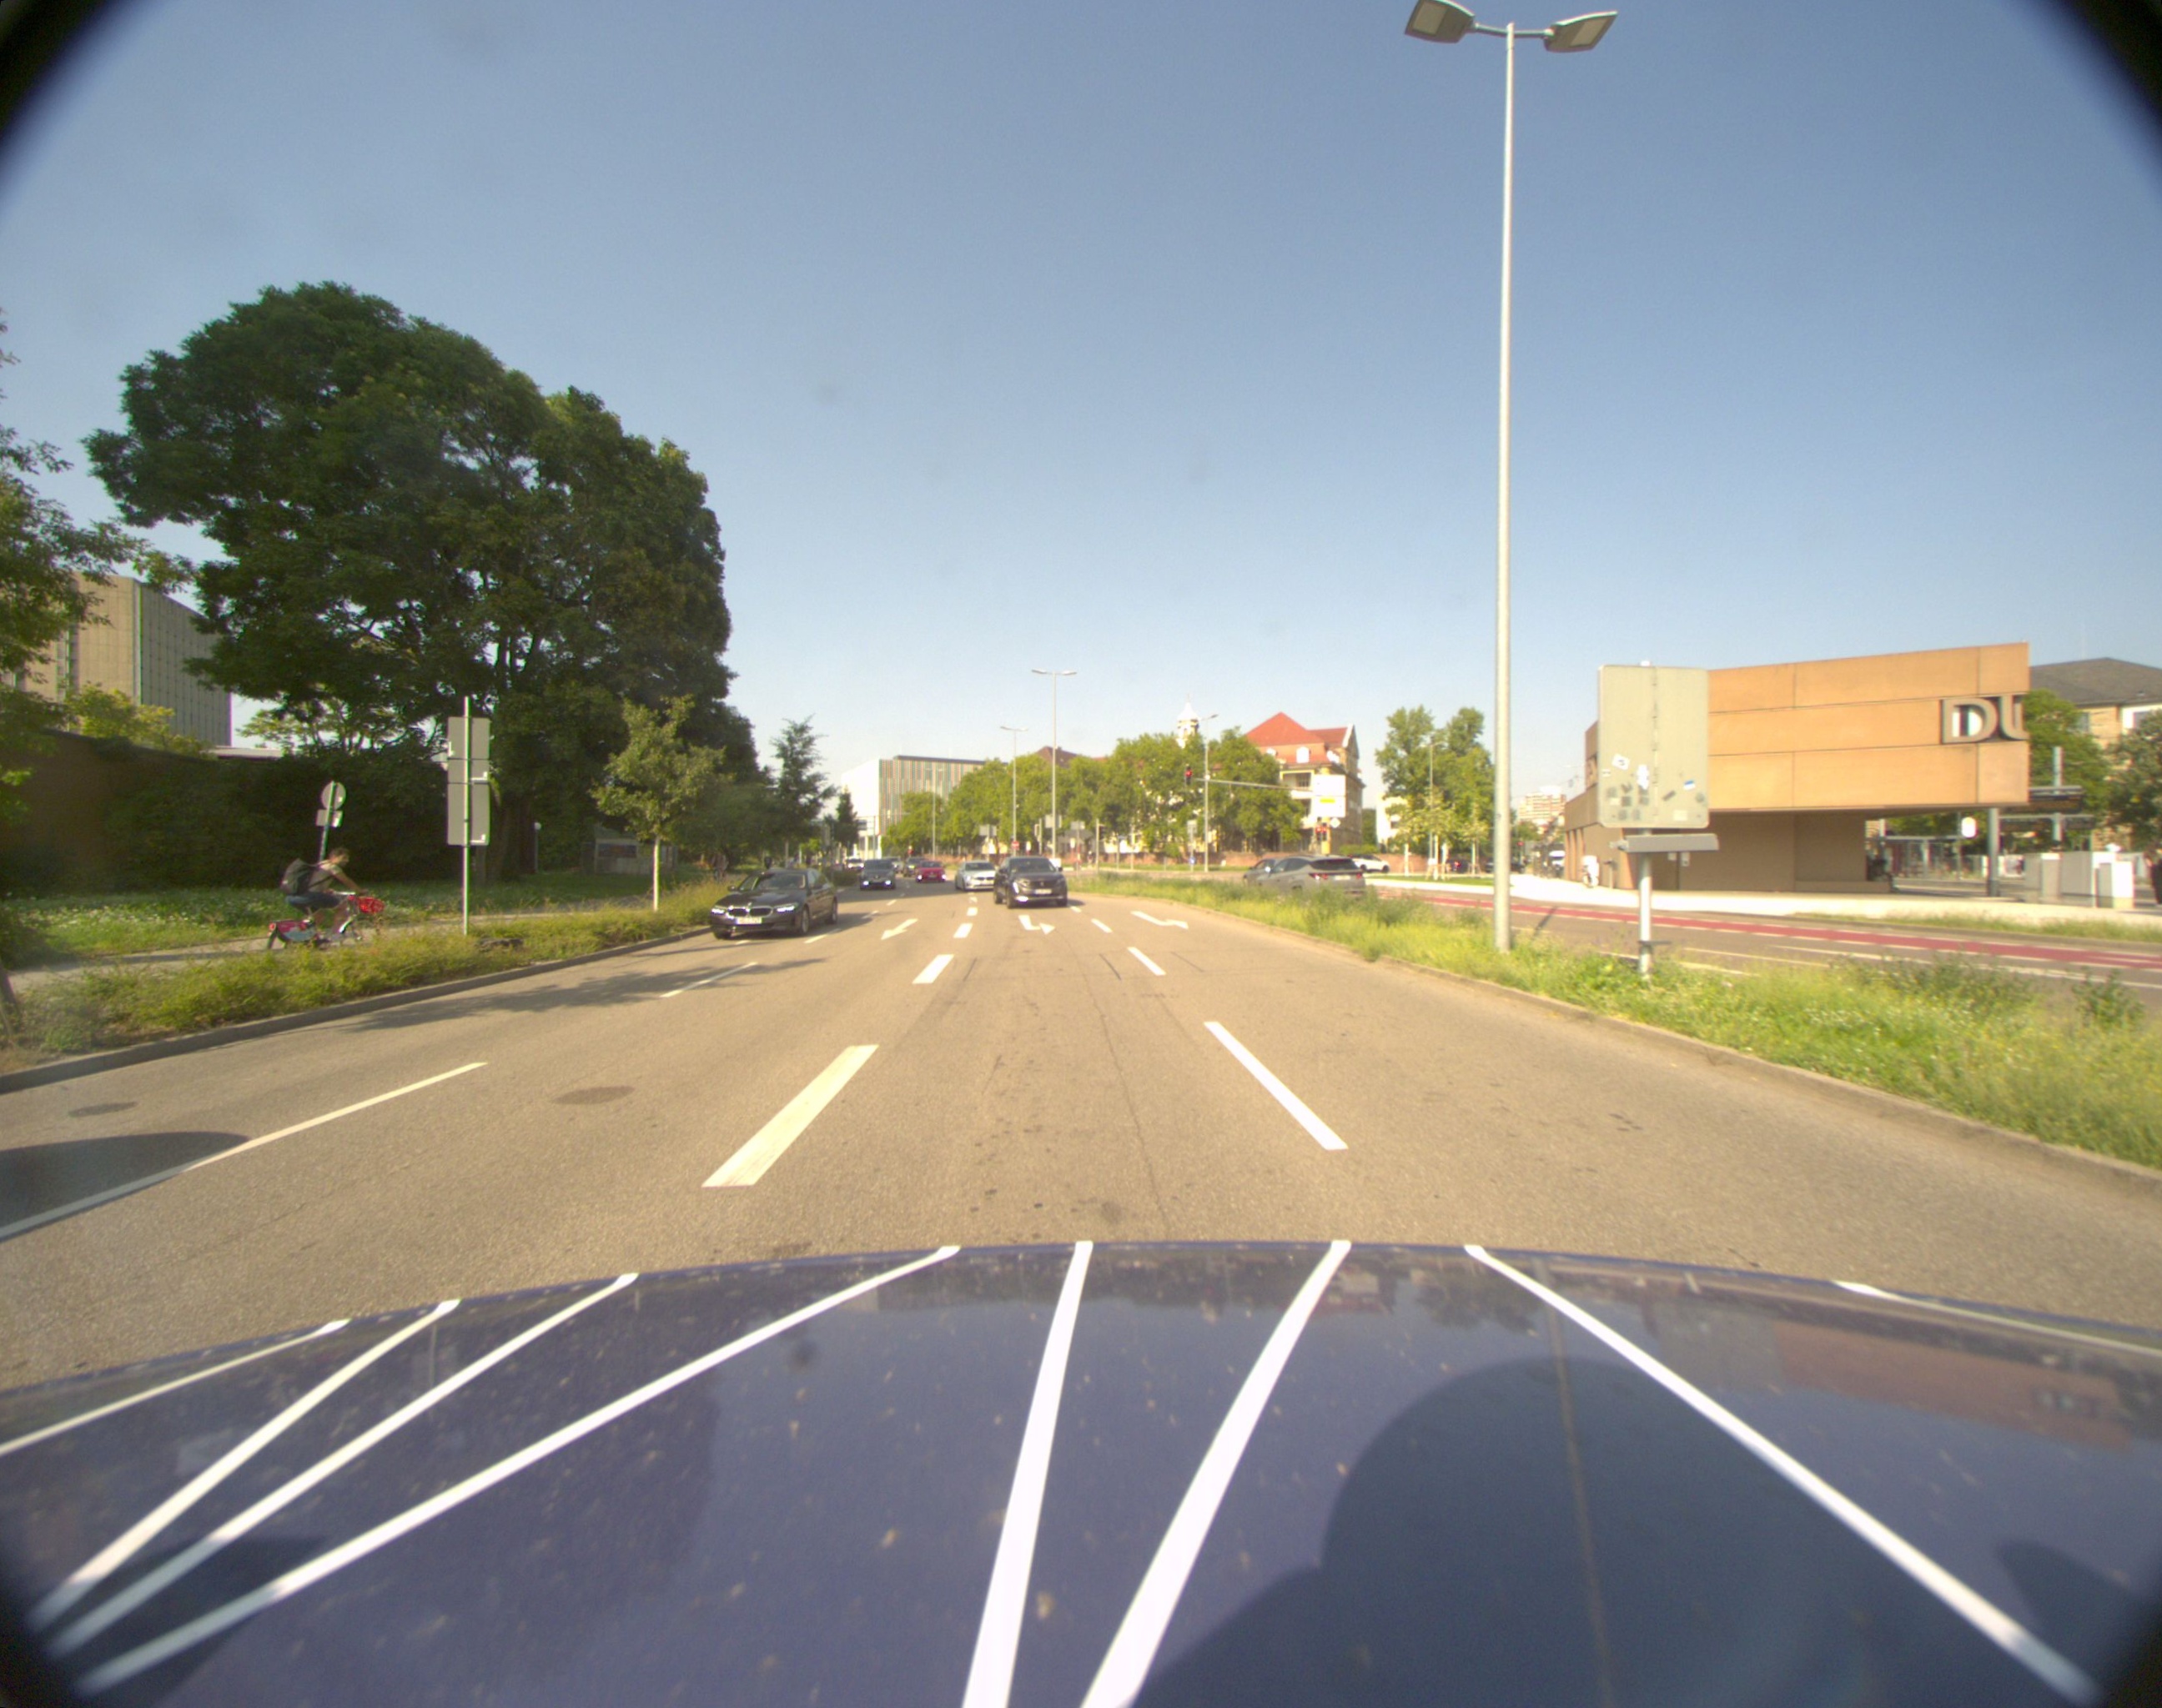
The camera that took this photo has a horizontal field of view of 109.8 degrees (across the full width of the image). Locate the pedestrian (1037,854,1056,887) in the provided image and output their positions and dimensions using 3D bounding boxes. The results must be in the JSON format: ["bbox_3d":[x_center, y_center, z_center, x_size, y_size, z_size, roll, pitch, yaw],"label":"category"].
[{"bbox_3d":[-1.708,0.827,38.009,0.667,1.644,0.780,0,0,24],"label":"pedestrian"}]

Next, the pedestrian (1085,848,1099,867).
[{"bbox_3d":[1.184,0.385,83.585,1.080,2.002,1.316,-1,1,-21],"label":"pedestrian"}]

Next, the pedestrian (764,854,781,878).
[{"bbox_3d":[-23.016,0.912,56.697,0.961,1.772,1.001,2,0,-14],"label":"pedestrian"}]

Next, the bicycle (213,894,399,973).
[{"bbox_3d":[-11.121,1.103,11.019,0.721,0.954,1.921,0,0,0],"label":"bicycle"}]

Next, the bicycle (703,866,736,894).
[{"bbox_3d":[-15.523,1.111,32.690,0.774,1.111,2.301,-1,0,-12],"label":"bicycle"}]

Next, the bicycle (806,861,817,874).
[{"bbox_3d":[-23.212,1.135,65.354,0.774,1.111,2.299,-1,0,-22],"label":"bicycle"}]

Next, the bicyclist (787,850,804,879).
[{"bbox_3d":[-15.793,0.570,42.052,0.774,1.583,0.923,0,0,-12],"label":"bicyclist"}]

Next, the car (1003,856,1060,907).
[{"bbox_3d":[-1.539,0.827,24.776,1.687,1.483,4.371,0,0,-2],"label":"car"}]

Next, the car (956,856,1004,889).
[{"bbox_3d":[-4.920,0.833,36.472,1.785,1.474,4.527,0,0,-14],"label":"car"}]

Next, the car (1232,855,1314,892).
[{"bbox_3d":[8.117,0.779,32.530,1.820,1.425,4.220,0,0,-11],"label":"car"}]

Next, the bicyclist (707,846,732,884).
[{"bbox_3d":[-15.538,0.474,32.699,0.774,1.584,0.923,-1,1,-13],"label":"bicyclist"}]

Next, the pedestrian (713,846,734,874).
[{"bbox_3d":[-18.213,0.294,38.710,0.727,1.435,0.857,0,1,-4],"label":"pedestrian"}]

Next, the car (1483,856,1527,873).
[{"bbox_3d":[41.587,0.986,74.477,4.380,1.623,1.995,0,0,-33],"label":"car"}]

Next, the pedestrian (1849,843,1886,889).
[{"bbox_3d":[30.294,0.455,29.275,0.717,1.727,0.858,0,1,26],"label":"pedestrian"}]

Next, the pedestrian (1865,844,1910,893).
[{"bbox_3d":[28.310,0.497,26.683,0.864,1.695,0.733,0,1,23],"label":"pedestrian"}]

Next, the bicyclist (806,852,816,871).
[{"bbox_3d":[-23.256,0.650,65.427,0.774,1.666,0.922,-1,1,-23],"label":"bicyclist"}]

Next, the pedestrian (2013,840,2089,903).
[{"bbox_3d":[27.416,0.485,21.495,0.988,1.760,0.866,0,1,8],"label":"pedestrian"}]

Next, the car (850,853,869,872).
[{"bbox_3d":[-24.231,0.912,83.170,1.690,1.930,4.364,0,0,-21],"label":"car"}]

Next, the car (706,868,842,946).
[{"bbox_3d":[-6.892,1.116,17.604,1.688,1.483,4.670,0,0,-6],"label":"car"}]

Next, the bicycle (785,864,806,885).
[{"bbox_3d":[-15.799,1.126,42.080,0.774,1.111,2.301,0,0,-12],"label":"bicycle"}]

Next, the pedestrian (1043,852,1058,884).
[{"bbox_3d":[-1.632,0.748,40.418,0.669,1.689,0.691,0,0,-12],"label":"pedestrian"}]

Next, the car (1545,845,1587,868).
[{"bbox_3d":[56.598,0.297,88.601,5.560,2.437,1.995,-3,1,-33],"label":"car"}]

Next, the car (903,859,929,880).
[{"bbox_3d":[-14.052,1.280,64.517,1.785,1.682,4.526,0,0,-17],"label":"car"}]

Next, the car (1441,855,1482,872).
[{"bbox_3d":[35.633,0.843,71.205,3.856,1.489,1.622,-1,1,-31],"label":"car"}]

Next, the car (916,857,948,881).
[{"bbox_3d":[-9.830,0.948,50.048,1.689,1.483,4.366,0,0,-16],"label":"car"}]

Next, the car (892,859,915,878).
[{"bbox_3d":[-18.093,1.501,77.299,1.785,1.710,4.526,-3,-1,-20],"label":"car"}]

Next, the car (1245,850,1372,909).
[{"bbox_3d":[6.709,0.692,22.938,1.700,1.608,4.456,0,0,-13],"label":"car"}]

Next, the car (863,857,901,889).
[{"bbox_3d":[-10.669,0.965,40.600,1.785,1.596,4.414,0,0,-17],"label":"car"}]

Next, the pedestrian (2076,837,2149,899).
[{"bbox_3d":[28.499,0.385,20.998,0.990,1.663,0.865,0,1,-14],"label":"pedestrian"}]

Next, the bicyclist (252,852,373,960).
[{"bbox_3d":[-11.123,0.718,11.034,0.721,1.504,1.004,0,1,-1],"label":"bicyclist"}]

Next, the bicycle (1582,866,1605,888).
[{"bbox_3d":[21.035,0.928,31.186,0.591,0.833,1.550,-3,-2,28],"label":"bicycle"}]

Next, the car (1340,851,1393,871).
[{"bbox_3d":[24.372,0.579,64.762,4.380,1.624,1.995,0,0,-32],"label":"car"}]

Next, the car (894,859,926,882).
[{"bbox_3d":[-12.697,1.196,56.180,1.942,1.597,4.527,-1,-1,-17],"label":"car"}]

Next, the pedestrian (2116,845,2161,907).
[{"bbox_3d":[27.287,0.544,19.316,0.863,1.550,0.992,0,1,34],"label":"pedestrian"}]
